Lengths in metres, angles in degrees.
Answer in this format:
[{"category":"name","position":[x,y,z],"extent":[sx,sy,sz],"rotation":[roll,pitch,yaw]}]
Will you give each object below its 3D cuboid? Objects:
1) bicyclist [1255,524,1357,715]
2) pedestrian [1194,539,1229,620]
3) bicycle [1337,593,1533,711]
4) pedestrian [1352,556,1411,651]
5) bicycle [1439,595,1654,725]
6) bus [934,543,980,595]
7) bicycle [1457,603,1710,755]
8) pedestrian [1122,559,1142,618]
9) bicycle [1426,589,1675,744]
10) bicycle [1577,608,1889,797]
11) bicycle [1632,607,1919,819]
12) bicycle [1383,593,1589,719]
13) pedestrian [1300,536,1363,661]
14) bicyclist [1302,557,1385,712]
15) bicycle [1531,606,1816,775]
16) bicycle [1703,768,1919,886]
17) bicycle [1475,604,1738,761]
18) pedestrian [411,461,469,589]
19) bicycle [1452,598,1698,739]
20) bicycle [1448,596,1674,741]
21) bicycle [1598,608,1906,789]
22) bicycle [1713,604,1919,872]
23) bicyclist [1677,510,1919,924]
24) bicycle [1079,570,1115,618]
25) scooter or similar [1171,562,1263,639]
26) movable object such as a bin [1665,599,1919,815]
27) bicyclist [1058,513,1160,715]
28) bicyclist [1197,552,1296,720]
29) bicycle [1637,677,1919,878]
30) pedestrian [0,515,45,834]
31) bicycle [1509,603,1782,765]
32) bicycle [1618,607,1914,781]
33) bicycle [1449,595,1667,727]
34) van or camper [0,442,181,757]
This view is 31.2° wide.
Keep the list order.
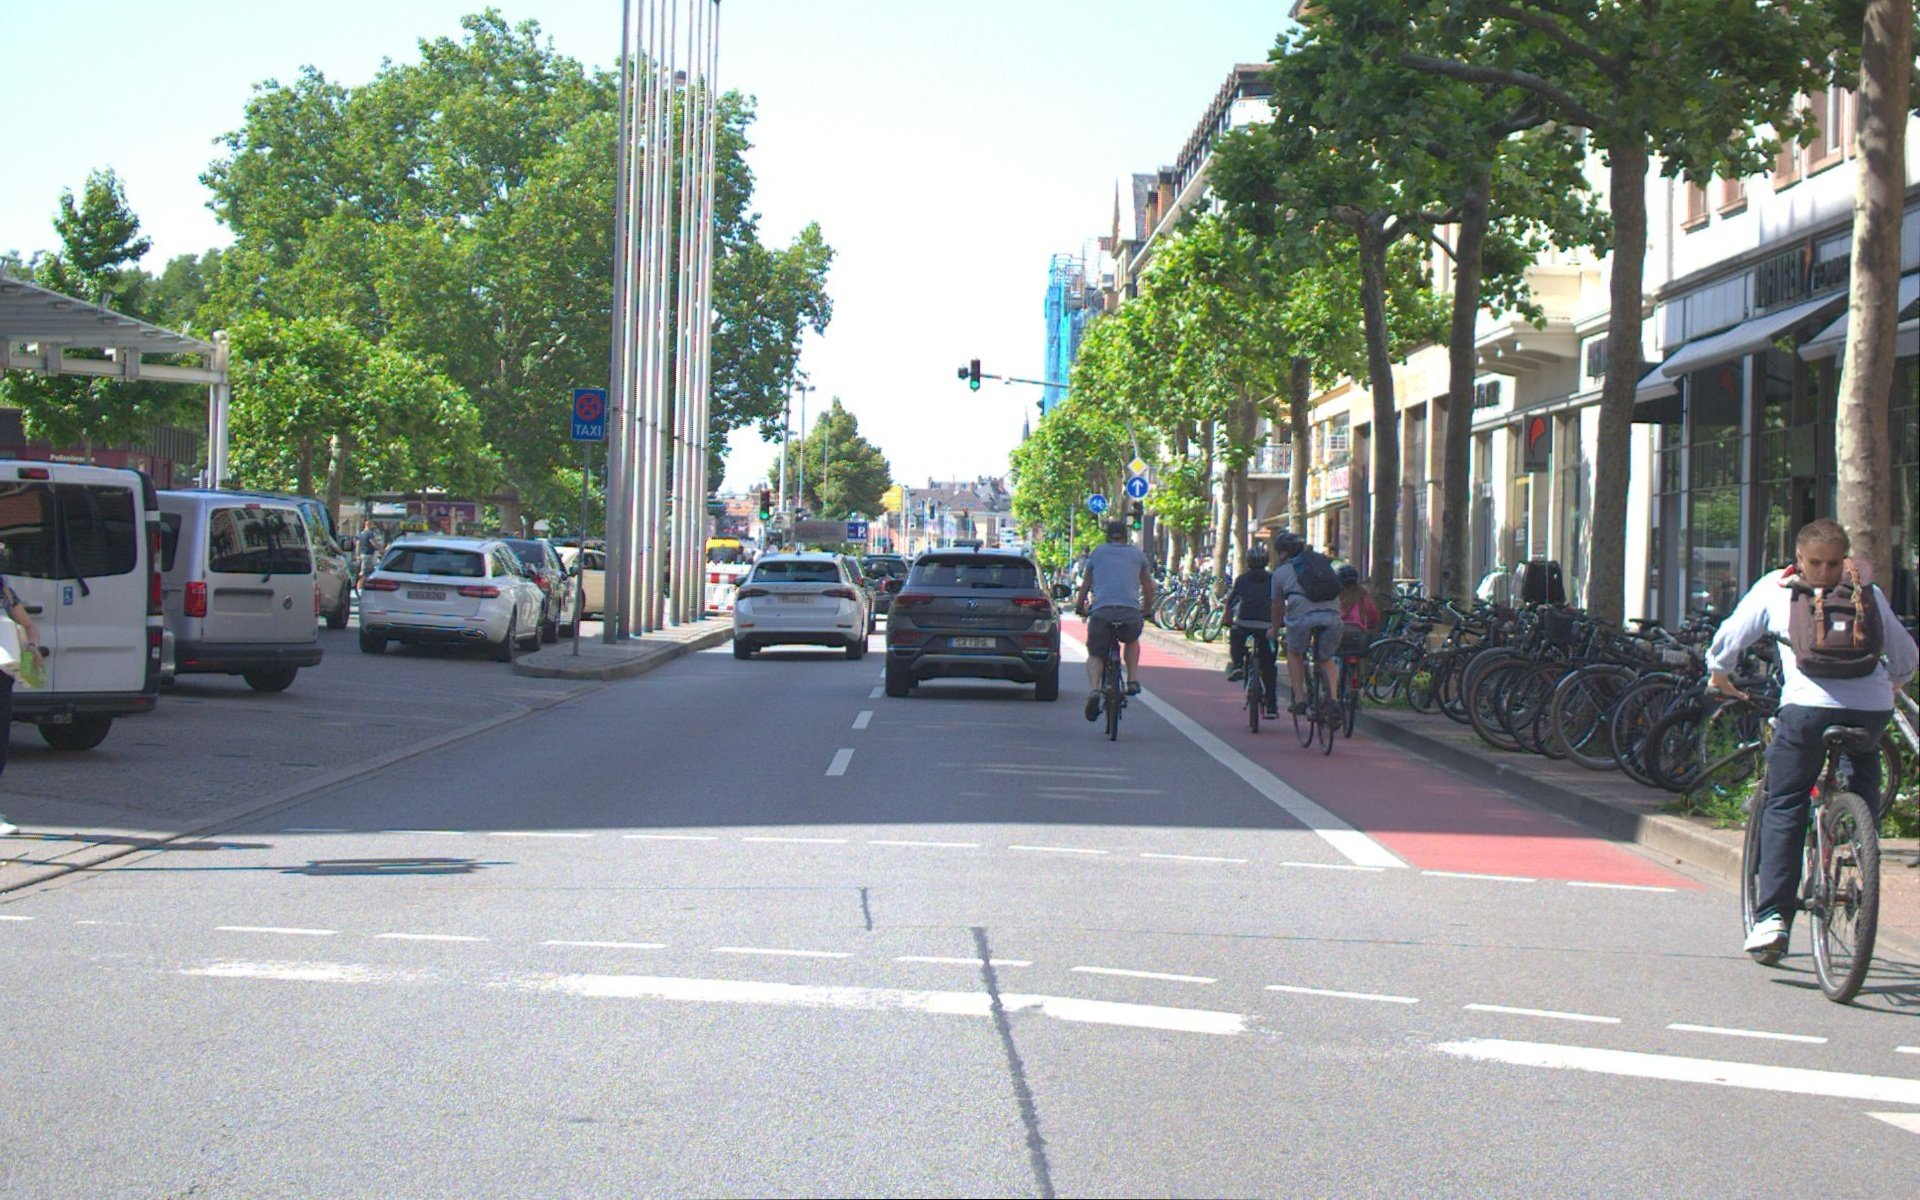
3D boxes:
[{"category":"bicyclist","position":[2.753,0.139,27.445],"extent":[0.630,1.476,1.198],"rotation":[1,1,-1]},{"category":"pedestrian","position":[5.091,-0.415,69.696],"extent":[0.615,1.607,0.745],"rotation":[2,0,1]},{"category":"bicycle","position":[4.771,0.516,34.602],"extent":[1.840,1.089,0.564],"rotation":[3,0,0]},{"category":"pedestrian","position":[5.619,0.045,45.873],"extent":[0.639,1.228,0.597],"rotation":[2,-1,-3]},{"category":"bicycle","position":[5.267,0.534,30.915],"extent":[1.840,1.123,0.448],"rotation":[1,-1,3]},{"category":"bus","position":[-0.230,-2.198,246.275],"extent":[2.995,3.582,11.745],"rotation":[2,0,-1]},{"category":"bicycle","position":[4.801,0.603,26.523],"extent":[1.840,1.123,0.530],"rotation":[1,-1,2]},{"category":"pedestrian","position":[4.723,-0.319,94.417],"extent":[0.549,1.625,0.589],"rotation":[0,0,3]},{"category":"bicycle","position":[4.713,0.524,27.515],"extent":[1.840,1.123,0.679],"rotation":[3,1,3]},{"category":"bicycle","position":[4.842,0.631,21.624],"extent":[1.840,1.123,0.666],"rotation":[1,0,7]},{"category":"bicycle","position":[4.951,0.665,20.312],"extent":[1.841,1.123,0.345],"rotation":[4,2,15]},{"category":"bicycle","position":[4.924,0.518,32.217],"extent":[1.843,1.123,0.447],"rotation":[1,-1,28]},{"category":"pedestrian","position":[5.211,-0.030,48.289],"extent":[0.639,1.683,0.843],"rotation":[4,1,-3]},{"category":"bicyclist","position":[3.394,0.296,30.468],"extent":[0.600,1.353,0.721],"rotation":[-1,0,-4]},{"category":"bicycle","position":[4.957,0.622,23.969],"extent":[1.840,1.123,0.643],"rotation":[1,0,2]},{"category":"bicycle","position":[5.110,1.188,18.714],"extent":[1.136,0.432,1.856],"rotation":[-10,-3,-26]},{"category":"bicycle","position":[4.843,0.609,25.828],"extent":[1.840,1.123,0.666],"rotation":[1,0,2]},{"category":"pedestrian","position":[-7.408,-1.069,48.995],"extent":[0.532,1.786,0.538],"rotation":[2,0,39]},{"category":"bicycle","position":[5.180,0.567,28.942],"extent":[1.987,1.123,0.761],"rotation":[1,-1,13]},{"category":"bicycle","position":[5.190,0.583,29.656],"extent":[1.841,1.123,0.530],"rotation":[3,0,12]},{"category":"bicycle","position":[5.141,0.631,22.392],"extent":[1.840,1.123,0.666],"rotation":[1,0,2]},{"category":"bicycle","position":[4.729,0.695,16.780],"extent":[1.855,1.184,0.715],"rotation":[6,4,38]},{"category":"bicyclist","position":[3.157,0.413,12.686],"extent":[0.698,1.441,0.961],"rotation":[3,0,-4]},{"category":"bicycle","position":[2.969,-0.138,74.650],"extent":[0.647,0.994,2.031],"rotation":[2,1,0]},{"category":"scooter or similar","position":[4.516,0.013,60.311],"extent":[1.475,1.270,0.669],"rotation":[3,0,11]},{"category":"movable object such as a bin","position":[5.252,0.644,20.752],"extent":[1.852,1.185,0.652],"rotation":[4,1,15]},{"category":"bicyclist","position":[1.223,0.109,28.370],"extent":[0.774,1.629,0.851],"rotation":[1,1,0]},{"category":"bicyclist","position":[2.538,0.311,30.540],"extent":[0.698,1.436,0.791],"rotation":[3,0,-4]},{"category":"bicycle","position":[4.877,1.033,19.515],"extent":[1.851,0.395,1.019],"rotation":[9,-34,4]},{"category":"pedestrian","position":[-4.955,0.349,17.175],"extent":[0.639,1.554,0.681],"rotation":[3,1,-12]},{"category":"bicycle","position":[4.973,0.602,25.016],"extent":[1.840,1.123,0.666],"rotation":[1,0,2]},{"category":"bicycle","position":[5.462,0.632,23.361],"extent":[1.840,1.123,0.666],"rotation":[1,0,2]},{"category":"bicycle","position":[5.288,0.539,30.456],"extent":[1.840,1.123,0.448],"rotation":[1,-1,3]},{"category":"van or camper","position":[-7.672,-0.128,23.644],"extent":[4.656,2.006,1.995],"rotation":[4,2,39]}]
